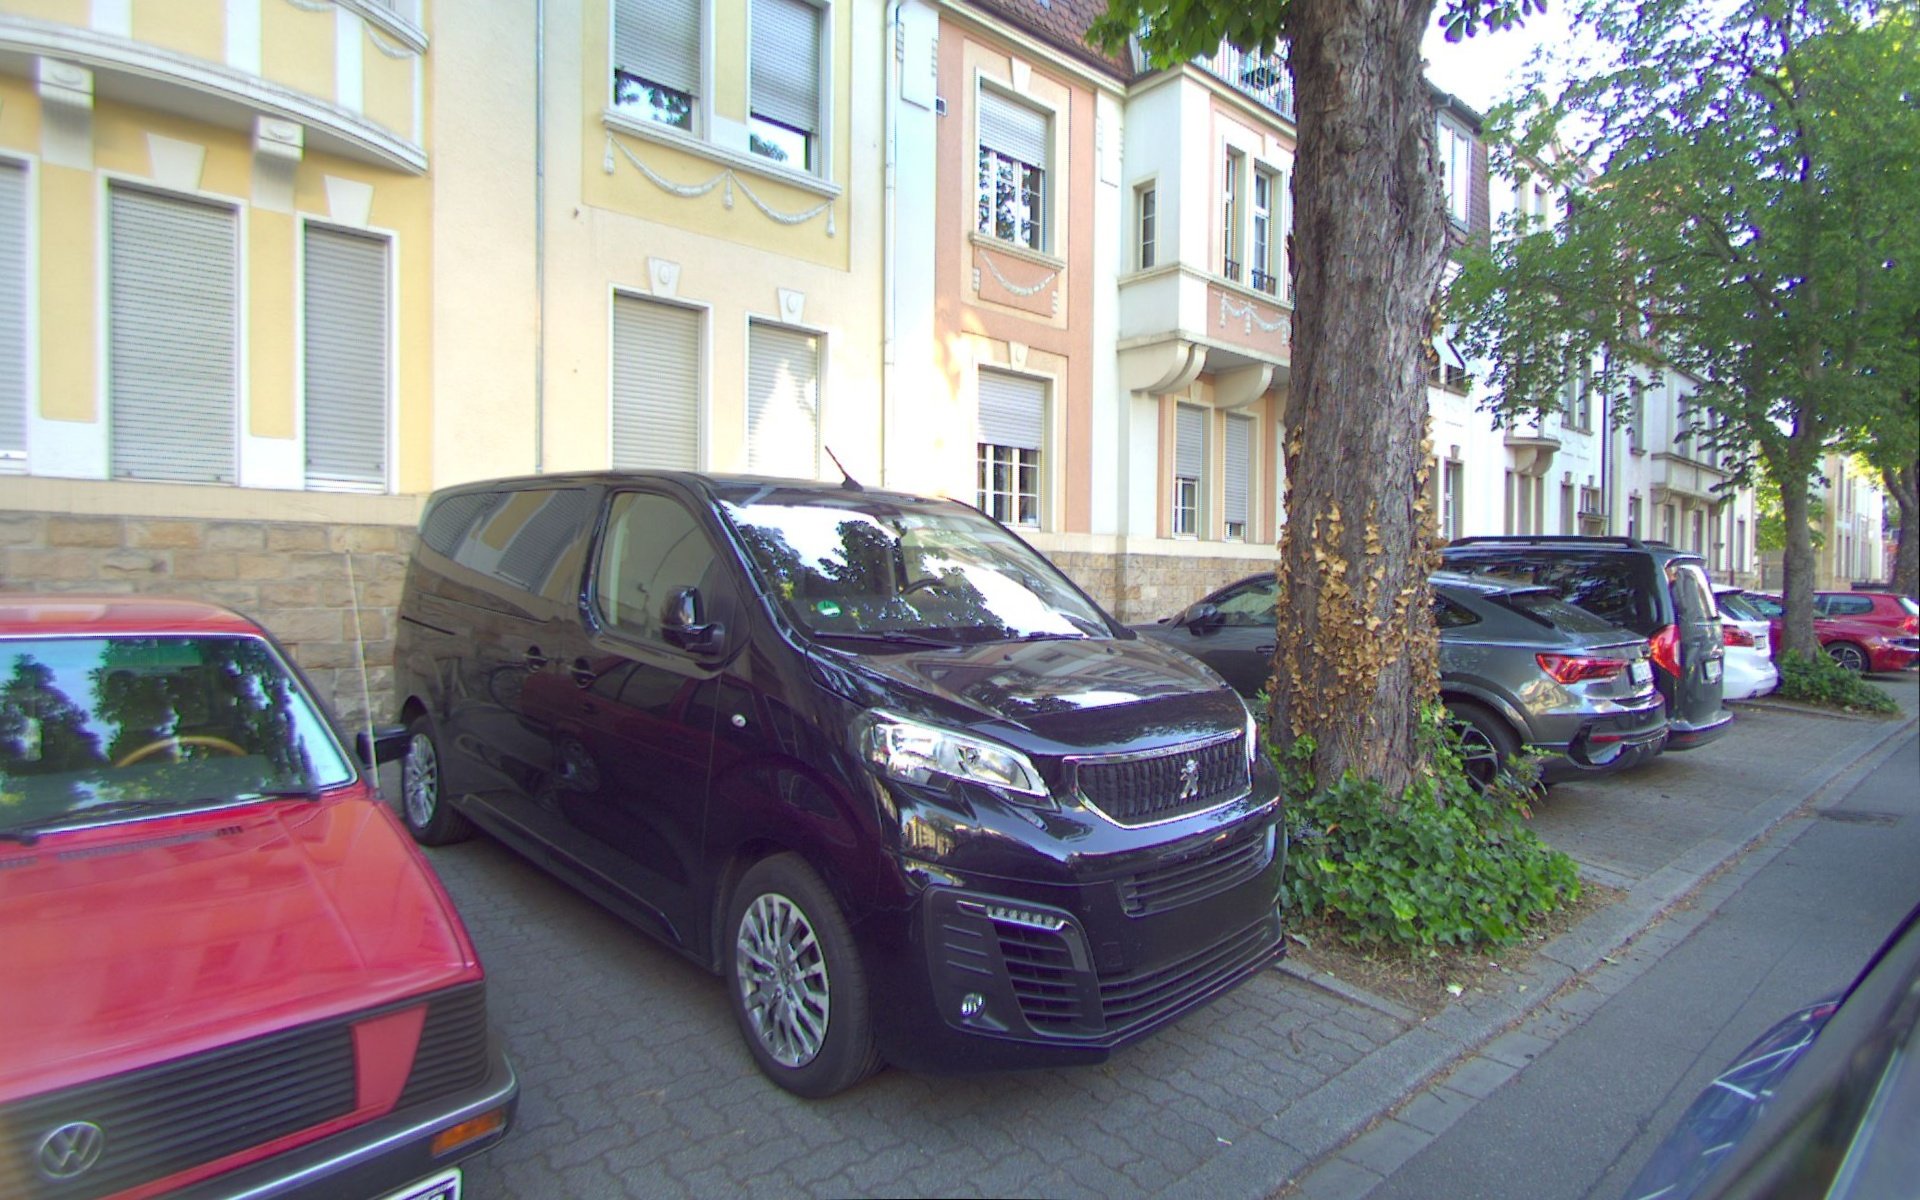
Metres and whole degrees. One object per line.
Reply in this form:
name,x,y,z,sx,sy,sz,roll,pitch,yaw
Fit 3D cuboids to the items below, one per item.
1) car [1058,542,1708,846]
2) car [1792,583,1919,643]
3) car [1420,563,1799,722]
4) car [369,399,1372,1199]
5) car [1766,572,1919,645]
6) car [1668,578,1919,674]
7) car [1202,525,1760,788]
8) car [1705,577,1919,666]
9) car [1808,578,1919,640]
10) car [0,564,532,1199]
car,2.840,0.411,7.536,1.569,1.611,4.165,-1,4,-44
car,24.000,0.329,26.157,1.511,1.420,3.621,0,3,-40
car,7.801,0.393,12.381,1.513,1.569,3.616,-1,3,-45
car,-0.944,0.348,4.557,1.851,1.846,4.825,-1,4,-44
car,21.674,0.176,24.113,1.511,1.584,3.621,0,2,-40
car,15.002,0.396,18.034,1.511,1.420,3.621,0,3,-40
car,4.436,0.276,9.134,1.569,1.849,4.165,-1,4,-44
car,16.913,0.366,19.693,1.511,1.482,3.621,0,3,-40
car,25.981,0.246,28.004,1.511,1.584,3.621,0,2,-40
car,-2.763,0.615,3.002,1.532,1.336,3.917,-1,4,-43
